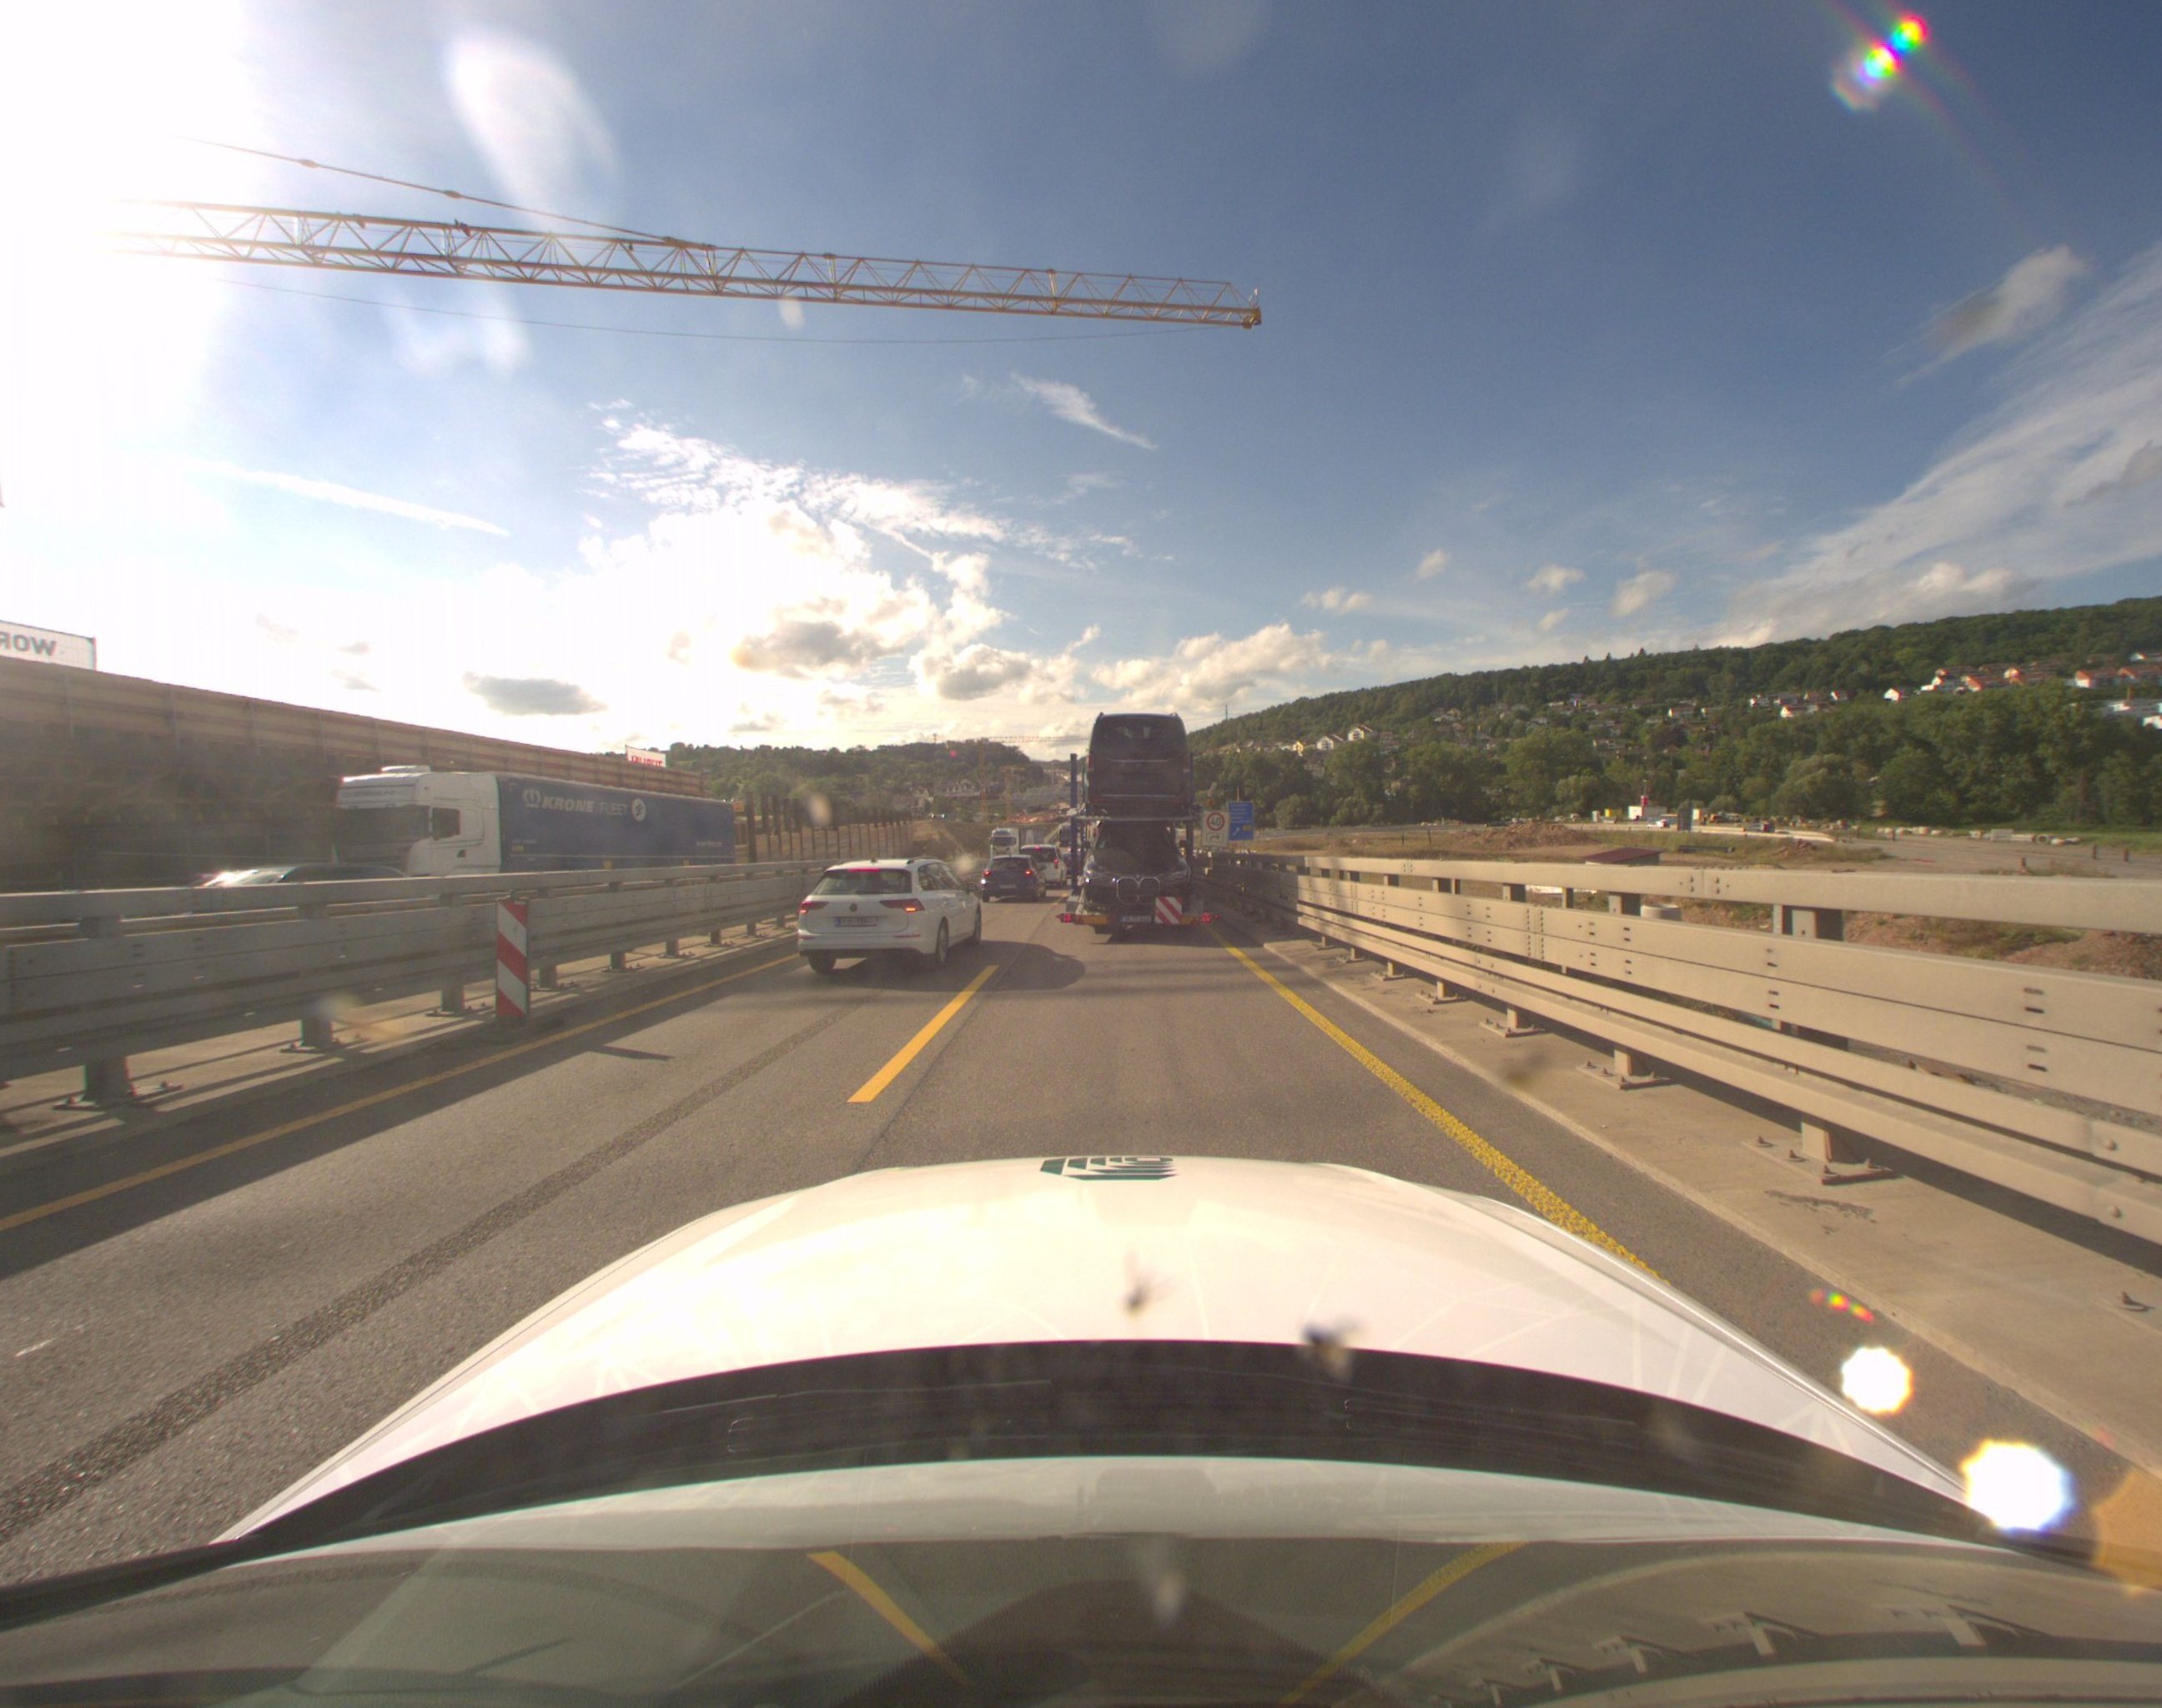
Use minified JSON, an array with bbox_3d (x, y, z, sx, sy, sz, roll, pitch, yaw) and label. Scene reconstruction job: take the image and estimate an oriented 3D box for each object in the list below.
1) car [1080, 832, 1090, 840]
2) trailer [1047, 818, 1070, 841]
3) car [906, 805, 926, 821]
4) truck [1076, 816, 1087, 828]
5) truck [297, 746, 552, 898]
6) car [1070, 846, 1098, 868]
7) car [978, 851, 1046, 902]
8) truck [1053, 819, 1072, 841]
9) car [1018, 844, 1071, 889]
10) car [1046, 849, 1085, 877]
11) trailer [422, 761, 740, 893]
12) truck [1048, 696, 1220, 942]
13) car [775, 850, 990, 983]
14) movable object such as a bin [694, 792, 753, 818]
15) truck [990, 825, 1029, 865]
[{"bbox_3d":[0.932,-4.043,182.139,1.988,1.726,4.119,0,0,-2],"label":"car"},{"bbox_3d":[-4.335,-4.625,155.807,2.819,3.841,13.764,0,0,-8],"label":"trailer"},{"bbox_3d":[-27.190,-6.701,134.351,1.986,2.140,5.324,-6,-1,2],"label":"car"},{"bbox_3d":[0.126,-9.383,240.571,2.690,3.311,7.542,0,0,3],"label":"truck"},{"bbox_3d":[-17.325,-0.754,21.952,2.831,3.628,4.812,0,-1,2],"label":"truck"},{"bbox_3d":[0.252,0.193,59.996,1.987,1.552,4.000,0,0,1],"label":"car"},{"bbox_3d":[-2.112,0.678,25.947,1.716,1.422,4.000,-3,0,0],"label":"car"},{"bbox_3d":[-3.476,-4.397,149.530,2.775,3.788,6.000,0,-1,-8],"label":"truck"},{"bbox_3d":[-1.487,0.505,34.551,1.815,1.792,4.004,0,0,4],"label":"car"},{"bbox_3d":[-0.839,0.516,47.470,1.985,1.556,4.404,0,0,3],"label":"car"},{"bbox_3d":[-16.868,-0.707,29.600,2.852,3.667,13.534,0,0,2],"label":"trailer"},{"bbox_3d":[1.186,-0.502,22.614,2.743,3.955,18.897,1,0,2],"label":"truck"},{"bbox_3d":[-2.589,0.726,11.839,1.763,1.491,4.520,-2,0,3],"label":"car"},{"bbox_3d":[-49.072,-6.699,111.931,5.705,3.270,4.527,-1,-1,14],"label":"movable object such as a bin"},{"bbox_3d":[-7.664,-0.903,87.809,2.695,4.137,5.986,-1,-1,9],"label":"truck"}]
